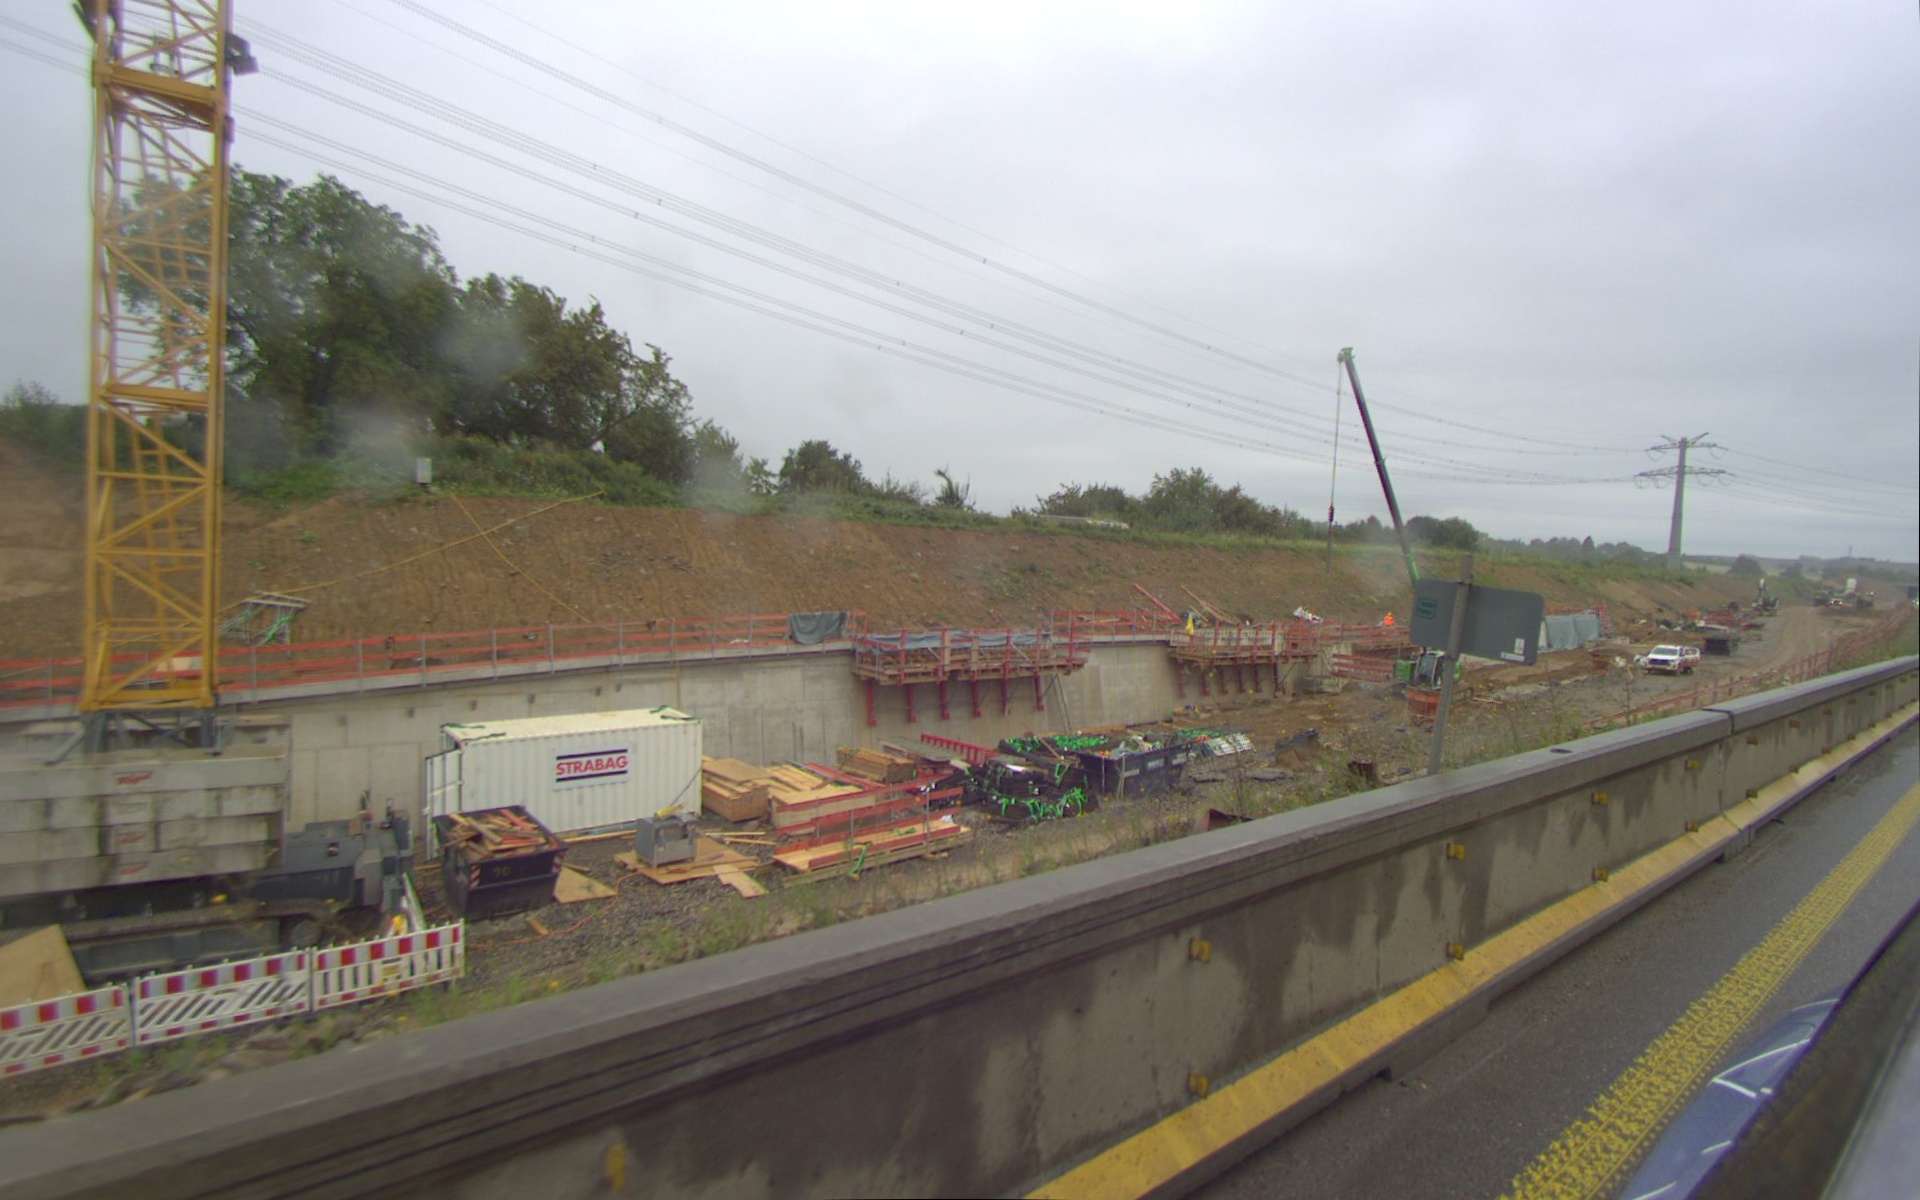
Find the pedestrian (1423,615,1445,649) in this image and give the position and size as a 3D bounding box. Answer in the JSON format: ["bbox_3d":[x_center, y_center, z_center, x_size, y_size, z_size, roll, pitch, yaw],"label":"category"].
[{"bbox_3d":[33.135,2.239,70.688,0.988,2.260,0.916,-2,-3,-40],"label":"pedestrian"}]

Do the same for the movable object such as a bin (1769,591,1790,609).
[{"bbox_3d":[129.109,-0.036,159.466,2.245,2.753,3.938,0,1,43],"label":"movable object such as a bin"}]

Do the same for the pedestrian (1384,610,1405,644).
[{"bbox_3d":[30.531,1.879,71.096,0.914,2.275,0.990,-6,-3,43],"label":"pedestrian"}]

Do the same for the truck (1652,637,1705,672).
[{"bbox_3d":[47.281,3.525,66.518,5.690,1.894,1.764,-1,3,-44],"label":"truck"}]

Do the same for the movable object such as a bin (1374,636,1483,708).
[{"bbox_3d":[24.967,3.731,53.870,4.780,2.836,3.795,-7,6,-44],"label":"movable object such as a bin"}]
